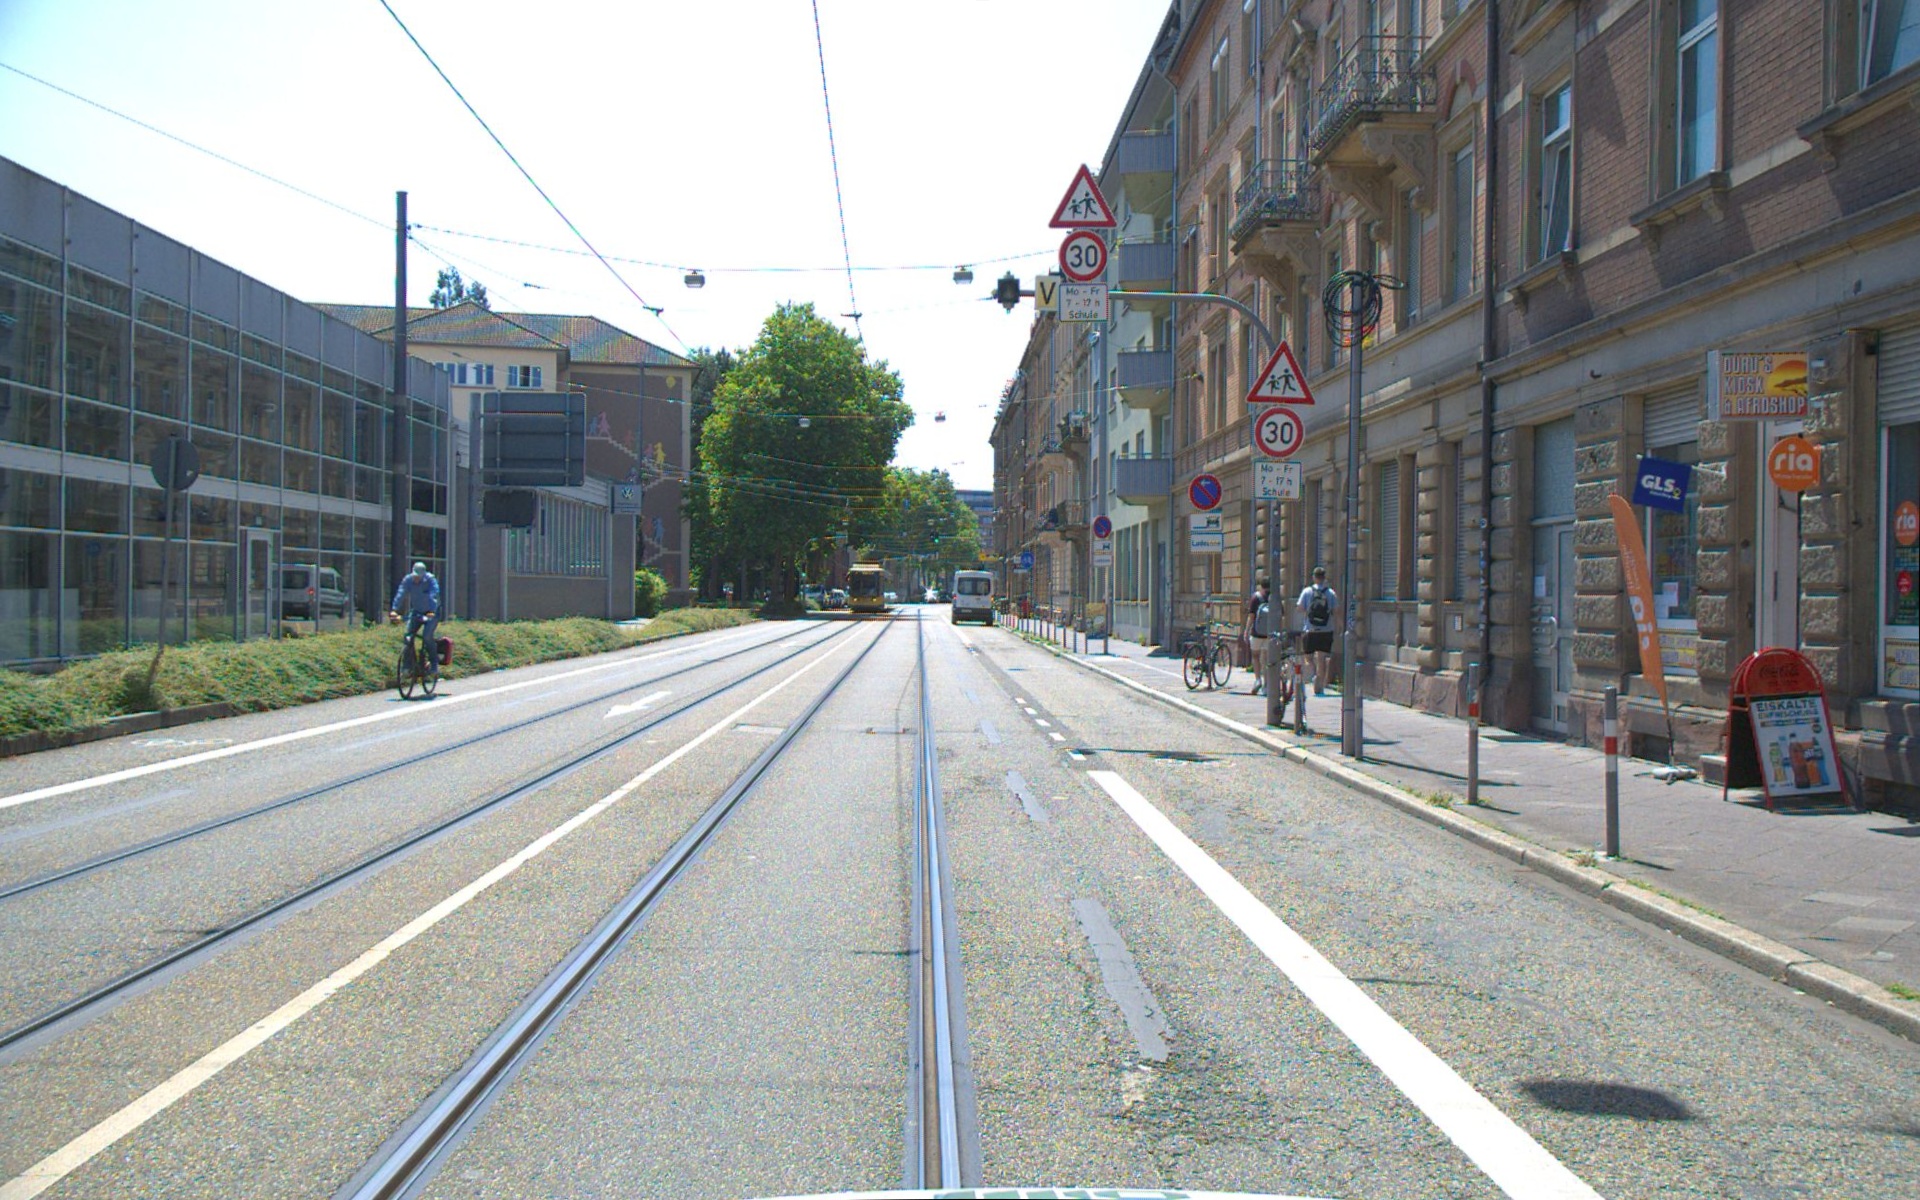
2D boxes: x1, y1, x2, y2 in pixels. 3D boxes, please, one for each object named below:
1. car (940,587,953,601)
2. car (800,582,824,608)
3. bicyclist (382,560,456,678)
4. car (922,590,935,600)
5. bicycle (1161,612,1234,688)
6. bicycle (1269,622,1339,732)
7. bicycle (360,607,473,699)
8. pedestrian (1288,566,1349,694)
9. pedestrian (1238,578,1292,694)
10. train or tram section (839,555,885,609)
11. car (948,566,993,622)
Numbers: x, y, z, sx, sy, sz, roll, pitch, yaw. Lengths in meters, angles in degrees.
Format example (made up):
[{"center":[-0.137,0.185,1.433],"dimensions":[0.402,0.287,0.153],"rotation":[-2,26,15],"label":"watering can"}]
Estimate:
[{"center":[-1.910,-0.852,235.642],"dimensions":[1.641,1.892,3.997],"rotation":[1,0,-4],"label":"car"},{"center":[-11.682,-0.381,130.453],"dimensions":[1.765,1.956,3.997],"rotation":[1,0,-4],"label":"car"},{"center":[-7.386,0.255,22.596],"dimensions":[0.683,1.575,0.980],"rotation":[0,0,0],"label":"bicyclist"},{"center":[-4.337,-0.683,227.627],"dimensions":[1.498,1.433,3.487],"rotation":[1,0,-4],"label":"car"},{"center":[3.905,0.790,27.068],"dimensions":[0.489,1.150,2.240],"rotation":[0,0,27],"label":"bicycle"},{"center":[3.877,0.837,18.761],"dimensions":[0.438,1.116,2.424],"rotation":[0,0,4],"label":"bicycle"},{"center":[-7.395,0.685,22.639],"dimensions":[0.683,1.164,2.496],"rotation":[0,0,1],"label":"bicycle"},{"center":[5.460,0.447,25.200],"dimensions":[0.688,1.881,0.643],"rotation":[-3,0,0],"label":"pedestrian"},{"center":[4.654,0.546,25.269],"dimensions":[0.705,1.750,0.643],"rotation":[0,0,-1],"label":"pedestrian"},{"center":[-6.990,-1.260,119.550],"dimensions":[2.901,3.643,13.418],"rotation":[0,0,-2],"label":"train or tram section"},{"center":[0.475,-0.292,79.964],"dimensions":[2.025,2.544,5.453],"rotation":[1,0,0],"label":"car"}]
